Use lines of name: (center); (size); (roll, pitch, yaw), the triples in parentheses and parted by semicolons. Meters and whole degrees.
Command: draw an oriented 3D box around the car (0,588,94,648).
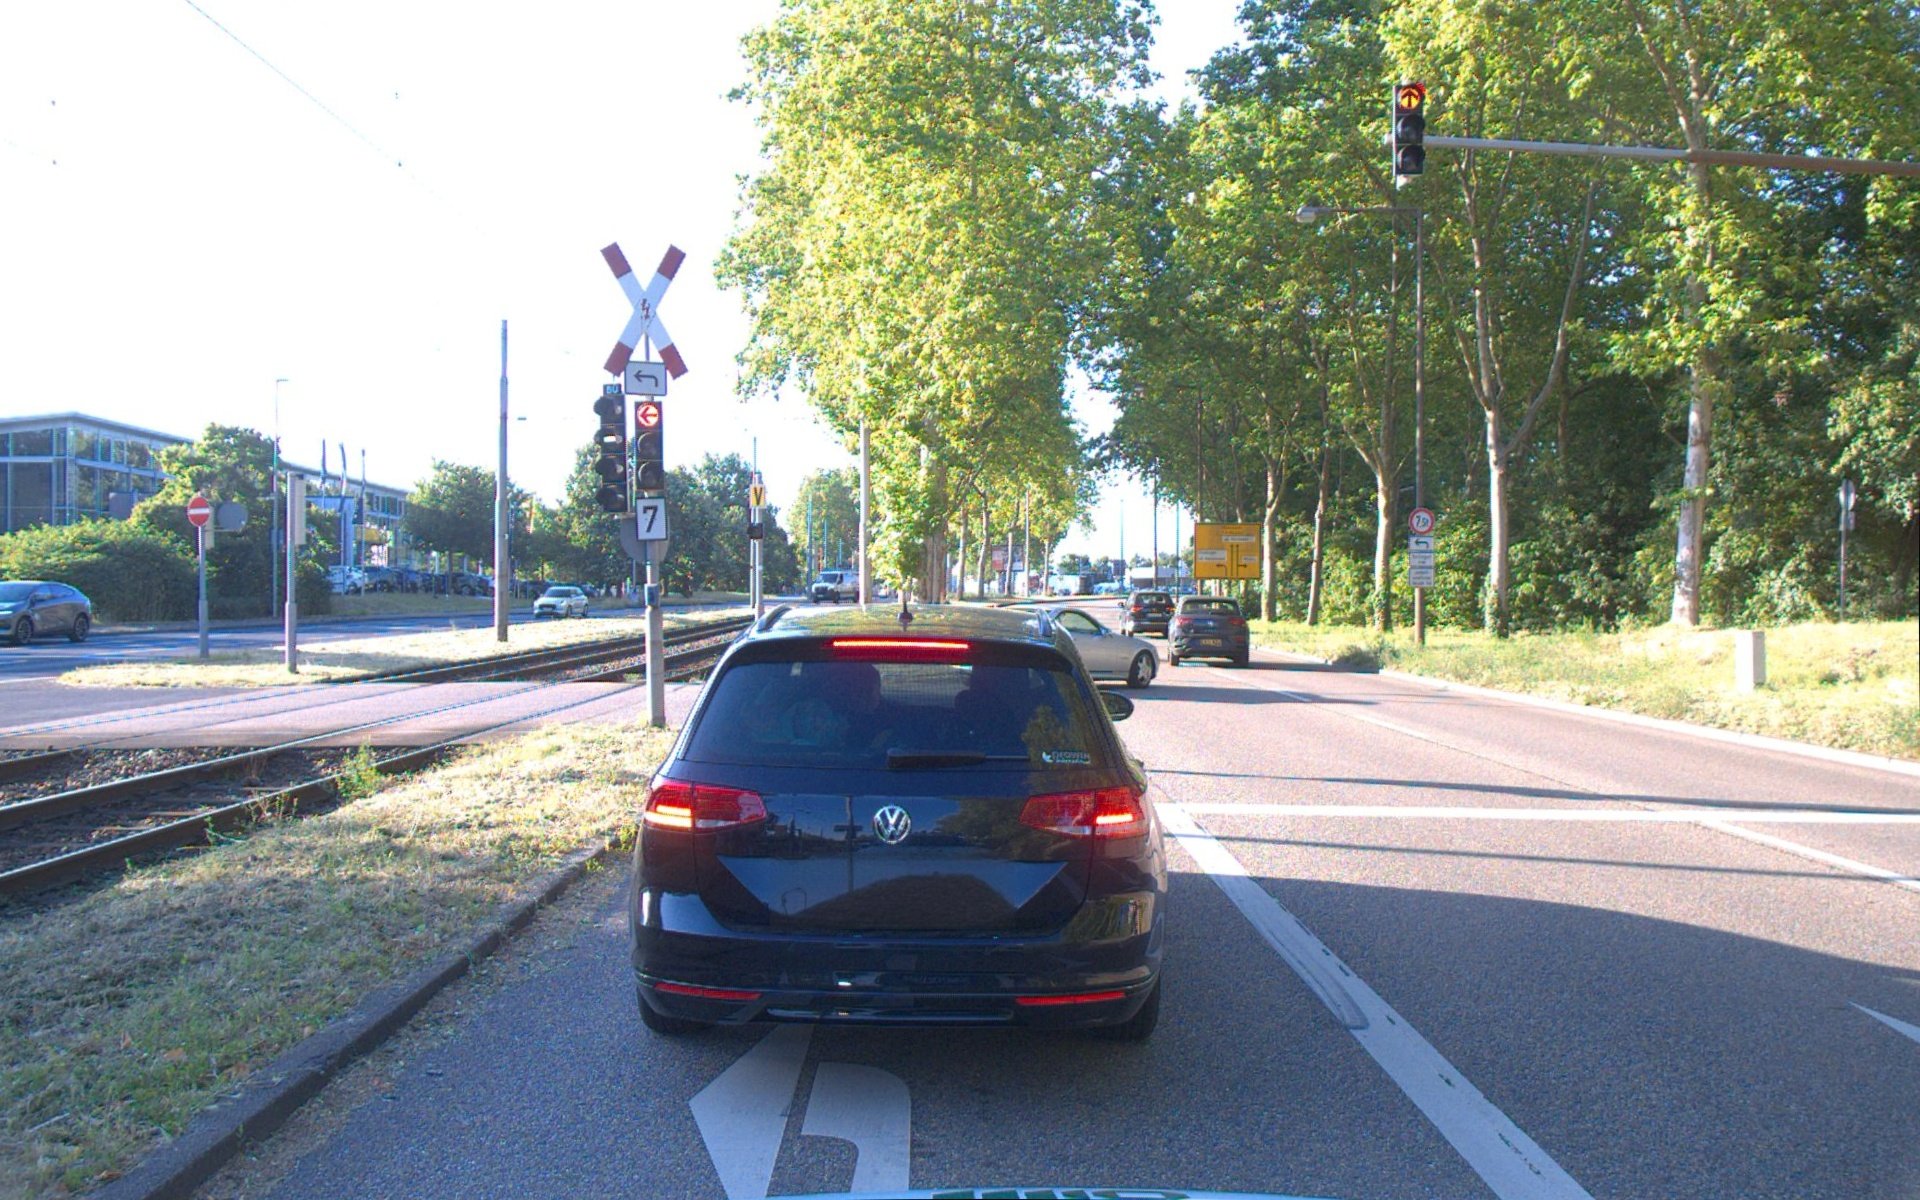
car: (-25.290, 0.446, 44.430); (1.823, 1.507, 4.172); (1, 1, 1)

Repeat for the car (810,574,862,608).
car: (-9.605, -0.700, 128.714); (2.051, 2.504, 5.856); (1, 1, 17)

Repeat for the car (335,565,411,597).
car: (-32.911, -1.042, 92.722); (3.930, 1.734, 1.732); (1, 0, -22)

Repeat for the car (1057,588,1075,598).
car: (15.057, -1.013, 235.047); (1.955, 1.445, 3.995); (1, 0, -6)

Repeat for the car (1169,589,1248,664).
car: (5.620, 0.566, 37.557); (1.671, 1.588, 4.169); (1, 0, 8)

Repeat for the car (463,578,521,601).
car: (-35.239, -0.766, 124.478); (3.909, 1.649, 1.742); (1, 0, -6)

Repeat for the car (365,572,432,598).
car: (-35.542, -0.950, 104.718); (3.930, 1.583, 1.732); (1, 0, -22)

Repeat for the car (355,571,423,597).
car: (-35.201, -0.976, 101.940); (3.930, 1.583, 1.732); (1, 0, -22)

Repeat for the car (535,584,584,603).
car: (-35.217, -0.559, 145.381); (3.909, 1.649, 1.742); (1, 0, -6)

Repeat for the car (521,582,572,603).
car: (-34.549, -0.618, 138.235); (3.909, 1.649, 1.742); (1, 0, -6)

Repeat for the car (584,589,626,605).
car: (-35.959, -0.336, 167.442); (3.909, 1.583, 1.742); (1, 0, -5)

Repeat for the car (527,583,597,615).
car: (-19.851, -0.070, 82.634); (1.822, 1.507, 4.095); (1, 1, 11)

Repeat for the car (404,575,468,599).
car: (-36.038, -0.863, 113.808); (3.913, 1.583, 1.740); (1, 0, -9)

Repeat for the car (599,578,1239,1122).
car: (-0.145, 0.694, 6.396); (1.758, 1.490, 3.582); (1, 0, -1)

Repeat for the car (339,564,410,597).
car: (-34.442, -1.115, 97.287); (3.930, 1.848, 1.732); (1, 0, -22)

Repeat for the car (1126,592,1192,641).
car: (6.998, 0.566, 58.531); (1.834, 1.663, 4.370); (0, 0, 0)

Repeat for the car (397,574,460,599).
car: (-35.706, -0.883, 111.113); (3.930, 1.583, 1.732); (1, 0, -22)

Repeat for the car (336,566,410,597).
car: (-33.693, -1.052, 94.961); (3.930, 1.734, 1.732); (1, 0, -22)

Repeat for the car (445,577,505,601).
car: (-35.569, -0.807, 121.262); (3.909, 1.649, 1.742); (1, 0, -6)

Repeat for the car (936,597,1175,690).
car: (1.572, 0.653, 26.087); (1.587, 1.317, 3.955); (1, 0, 44)

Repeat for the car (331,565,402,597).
car: (-35.548, -1.148, 99.025); (3.930, 1.848, 1.732); (1, 0, -22)
